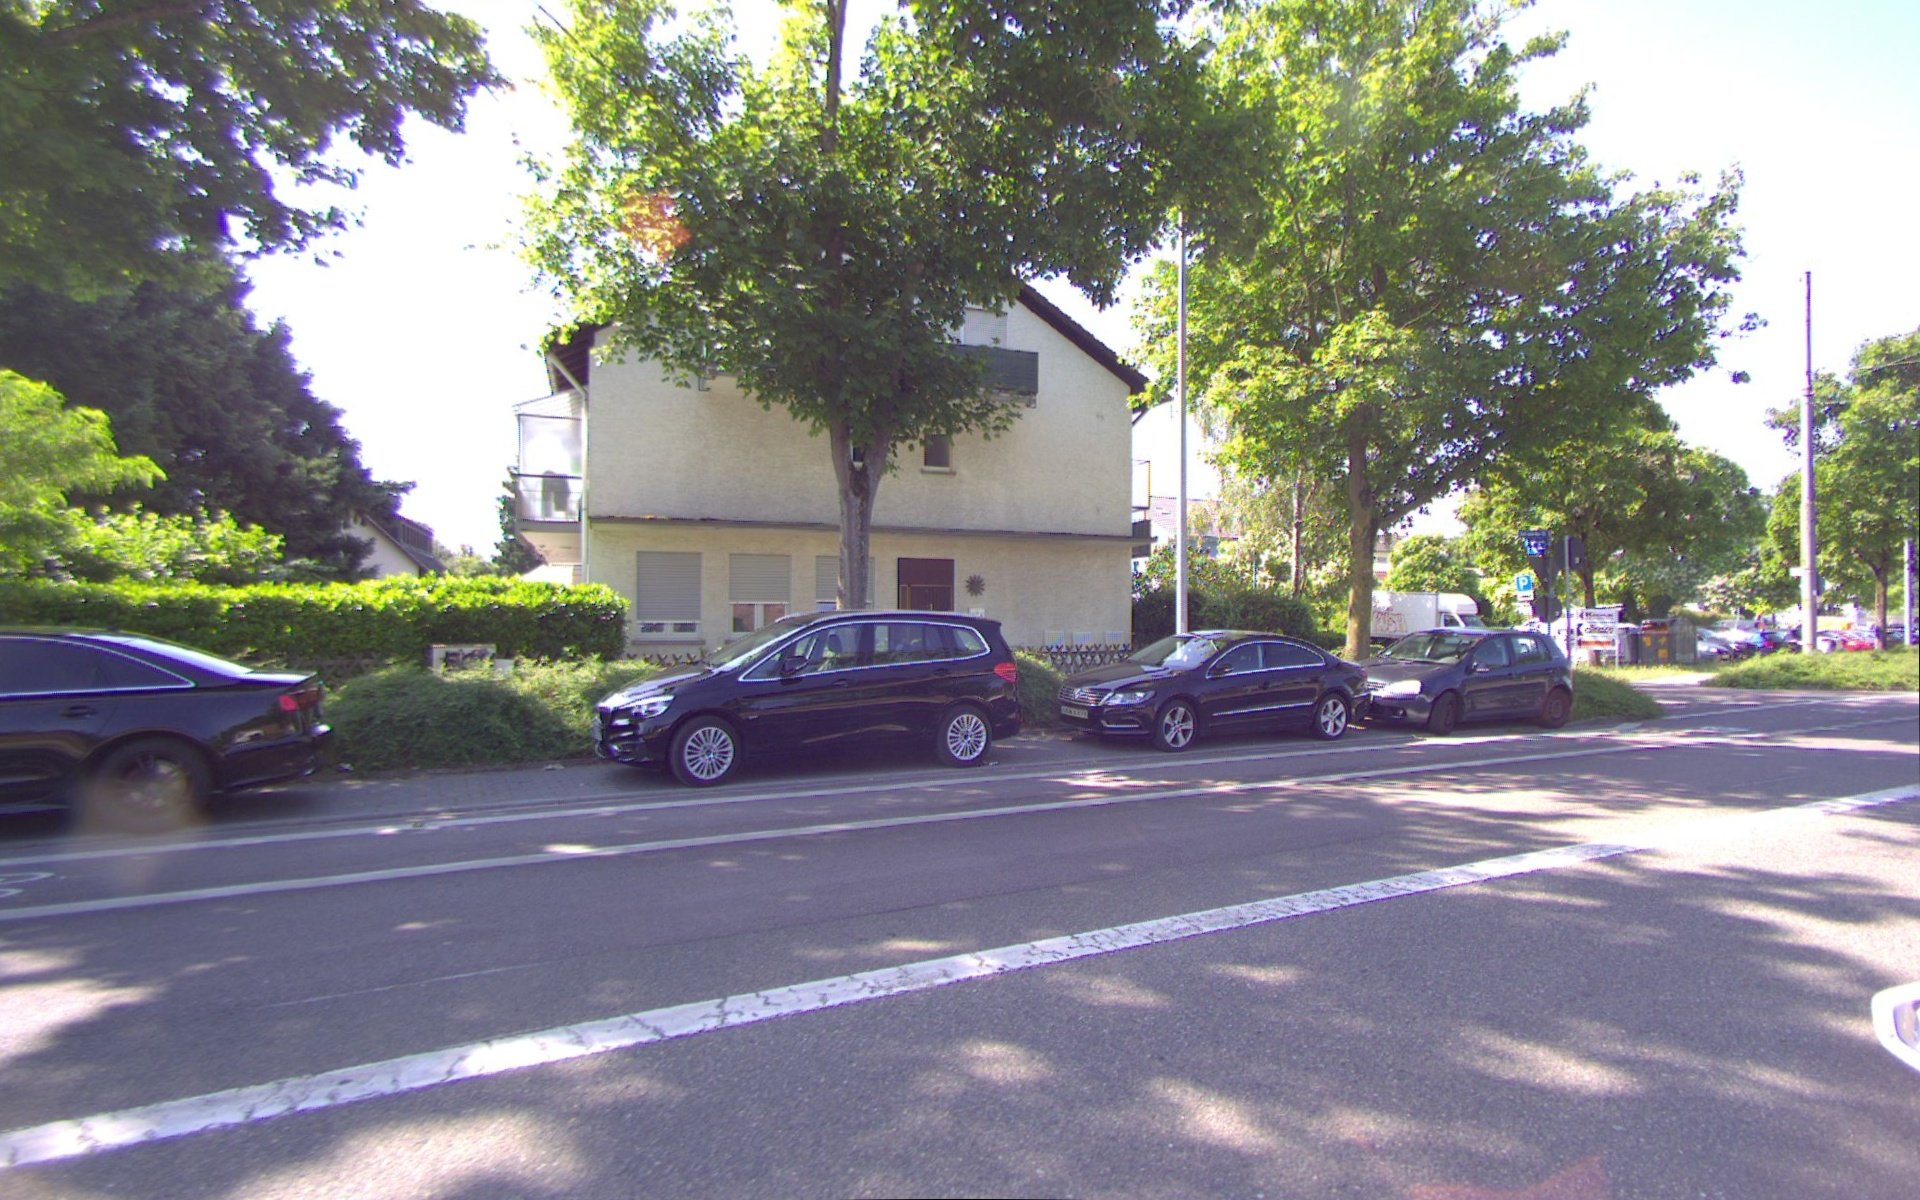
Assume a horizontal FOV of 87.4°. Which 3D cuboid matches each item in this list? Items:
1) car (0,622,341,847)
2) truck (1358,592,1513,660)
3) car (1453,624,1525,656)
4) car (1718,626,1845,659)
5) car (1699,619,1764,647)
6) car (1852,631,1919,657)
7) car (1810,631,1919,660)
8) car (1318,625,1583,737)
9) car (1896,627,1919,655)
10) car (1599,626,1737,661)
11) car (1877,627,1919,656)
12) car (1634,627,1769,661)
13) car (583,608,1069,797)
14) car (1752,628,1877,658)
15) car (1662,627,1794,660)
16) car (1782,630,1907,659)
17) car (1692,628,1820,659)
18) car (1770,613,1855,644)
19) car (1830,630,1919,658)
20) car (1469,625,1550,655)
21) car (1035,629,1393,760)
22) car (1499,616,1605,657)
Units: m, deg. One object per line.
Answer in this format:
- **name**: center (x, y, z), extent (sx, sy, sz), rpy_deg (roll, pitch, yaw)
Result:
- **car**: center (-7.318, 0.909, 7.224), extent (4.856, 1.485, 1.830), rpy_deg (1, -1, -32)
- **truck**: center (24.071, 1.209, 51.292), extent (2.205, 3.059, 7.106), rpy_deg (1, 2, -30)
- **car**: center (28.351, 2.112, 53.932), extent (1.536, 1.452, 3.124), rpy_deg (1, 2, -24)
- **car**: center (36.219, 1.849, 44.395), extent (1.747, 1.368, 3.975), rpy_deg (1, -1, -25)
- **car**: center (55.374, 2.353, 72.117), extent (1.534, 1.901, 3.407), rpy_deg (1, -1, -30)
- **car**: center (46.963, 2.167, 49.633), extent (1.747, 1.241, 3.975), rpy_deg (1, -1, -25)
- **car**: center (43.087, 2.117, 47.553), extent (1.747, 1.241, 3.975), rpy_deg (1, -1, -25)
- **car**: center (7.561, 1.168, 15.429), extent (3.953, 1.470, 1.635), rpy_deg (1, 1, -28)
- **car**: center (51.439, 2.118, 52.025), extent (1.747, 1.463, 3.975), rpy_deg (1, -1, -25)
- **car**: center (26.984, 1.631, 38.402), extent (1.750, 1.241, 3.969), rpy_deg (1, -1, -29)
- **car**: center (49.297, 2.101, 50.789), extent (1.747, 1.420, 3.975), rpy_deg (1, -1, -25)
- **car**: center (29.181, 1.706, 39.649), extent (1.750, 1.241, 3.969), rpy_deg (1, -1, -29)
- **car**: center (-1.328, 0.929, 10.677), extent (4.834, 1.627, 1.754), rpy_deg (1, 0, -29)
- **car**: center (38.520, 1.909, 45.380), extent (1.747, 1.281, 3.975), rpy_deg (1, -1, -25)
- **car**: center (31.395, 1.756, 41.202), extent (1.747, 1.241, 3.975), rpy_deg (1, -1, -25)
- **car**: center (40.811, 2.042, 46.435), extent (1.747, 1.241, 3.975), rpy_deg (1, -1, -25)
- **car**: center (34.050, 1.843, 43.097), extent (1.747, 1.241, 3.975), rpy_deg (1, -1, -25)
- **car**: center (61.077, 2.020, 72.017), extent (1.979, 2.040, 4.230), rpy_deg (1, 1, -34)
- **car**: center (45.078, 2.110, 48.725), extent (1.747, 1.241, 3.975), rpy_deg (1, -1, -25)
- **car**: center (30.270, 2.157, 55.428), extent (1.536, 1.374, 3.762), rpy_deg (1, 2, -24)
- **car**: center (3.424, 1.122, 13.252), extent (4.724, 1.398, 1.683), rpy_deg (1, 1, -29)
- **car**: center (32.954, 2.009, 56.047), extent (1.978, 2.040, 4.666), rpy_deg (2, 1, -33)
